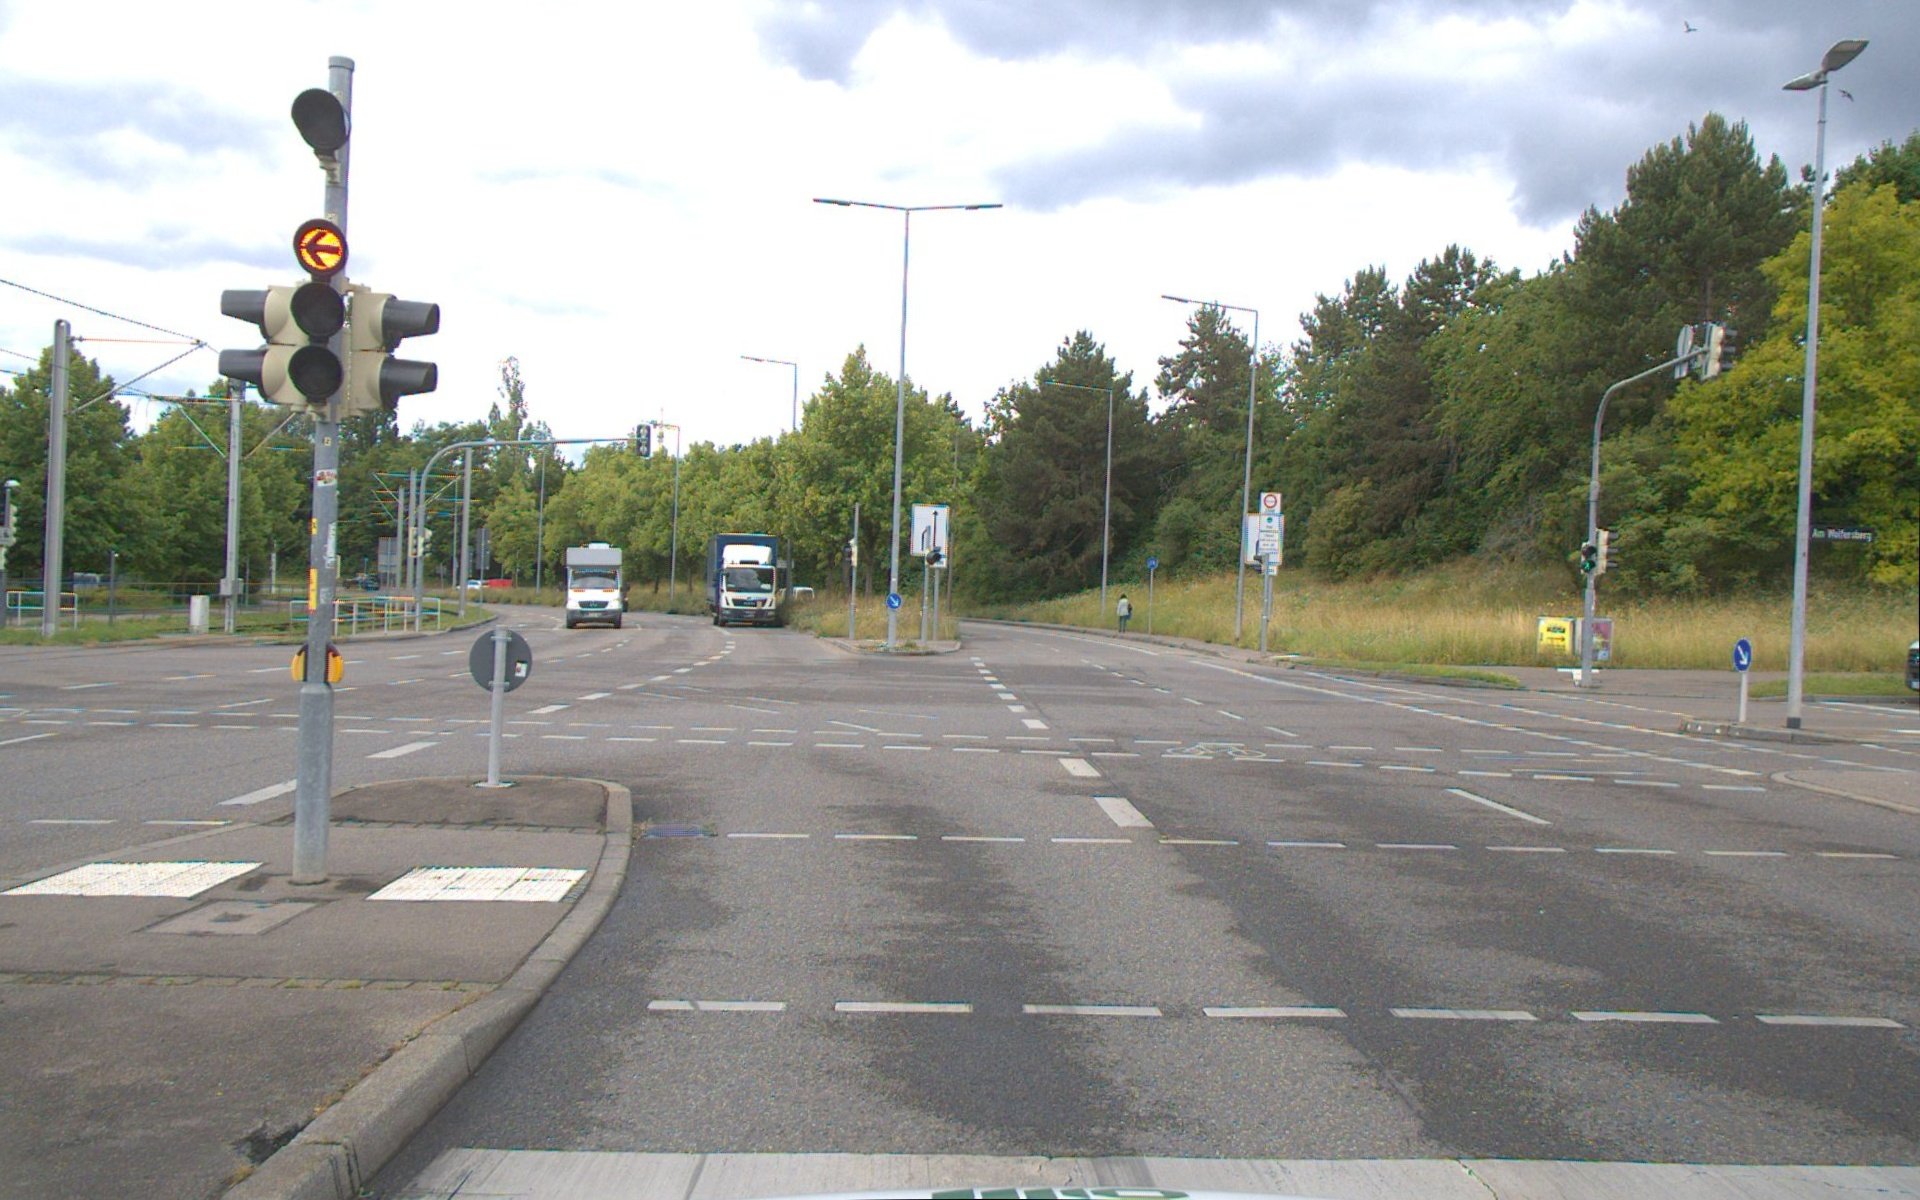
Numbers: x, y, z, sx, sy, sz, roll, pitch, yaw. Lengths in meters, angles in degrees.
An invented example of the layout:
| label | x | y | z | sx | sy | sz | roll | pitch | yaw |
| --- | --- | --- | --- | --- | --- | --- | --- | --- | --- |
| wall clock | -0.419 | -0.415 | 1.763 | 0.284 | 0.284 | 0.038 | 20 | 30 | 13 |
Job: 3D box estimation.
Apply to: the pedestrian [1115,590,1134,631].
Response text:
| label | x | y | z | sx | sy | sz | roll | pitch | yaw |
| --- | --- | --- | --- | --- | --- | --- | --- | --- | --- |
| pedestrian | 7.178 | 0.460 | 72.036 | 0.724 | 1.747 | 0.625 | 1 | 0 | -1 |

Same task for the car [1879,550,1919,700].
| label | x | y | z | sx | sy | sz | roll | pitch | yaw |
| --- | --- | --- | --- | --- | --- | --- | --- | --- | --- |
| car | 20.255 | 0.489 | 30.110 | 5.818 | 2.705 | 2.228 | 1 | -1 | 1 |

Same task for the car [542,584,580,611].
| label | x | y | z | sx | sy | sz | roll | pitch | yaw |
| --- | --- | --- | --- | --- | --- | --- | --- | --- | --- |
| car | -28.363 | -0.176 | 117.365 | 1.967 | 1.814 | 3.971 | 1 | 0 | -23 |

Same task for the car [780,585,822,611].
| label | x | y | z | sx | sy | sz | roll | pitch | yaw |
| --- | --- | --- | --- | --- | --- | --- | --- | --- | --- |
| car | -11.027 | -0.141 | 114.823 | 1.965 | 1.758 | 3.703 | 1 | 0 | -21 |

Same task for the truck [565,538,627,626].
| label | x | y | z | sx | sy | sz | roll | pitch | yaw |
| --- | --- | --- | --- | --- | --- | --- | --- | --- | --- |
| truck | -13.675 | -0.654 | 62.233 | 2.068 | 3.063 | 6.254 | -2 | 1 | -12 |

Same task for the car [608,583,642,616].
| label | x | y | z | sx | sy | sz | roll | pitch | yaw |
| --- | --- | --- | --- | --- | --- | --- | --- | --- | --- |
| car | -21.406 | -0.048 | 105.666 | 1.960 | 2.049 | 4.592 | 1 | 0 | -14 |

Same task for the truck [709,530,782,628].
| label | x | y | z | sx | sy | sz | roll | pitch | yaw |
| --- | --- | --- | --- | --- | --- | --- | --- | --- | --- |
| truck | -9.204 | -0.871 | 70.322 | 2.727 | 3.871 | 8.371 | 1 | 0 | -9 |
